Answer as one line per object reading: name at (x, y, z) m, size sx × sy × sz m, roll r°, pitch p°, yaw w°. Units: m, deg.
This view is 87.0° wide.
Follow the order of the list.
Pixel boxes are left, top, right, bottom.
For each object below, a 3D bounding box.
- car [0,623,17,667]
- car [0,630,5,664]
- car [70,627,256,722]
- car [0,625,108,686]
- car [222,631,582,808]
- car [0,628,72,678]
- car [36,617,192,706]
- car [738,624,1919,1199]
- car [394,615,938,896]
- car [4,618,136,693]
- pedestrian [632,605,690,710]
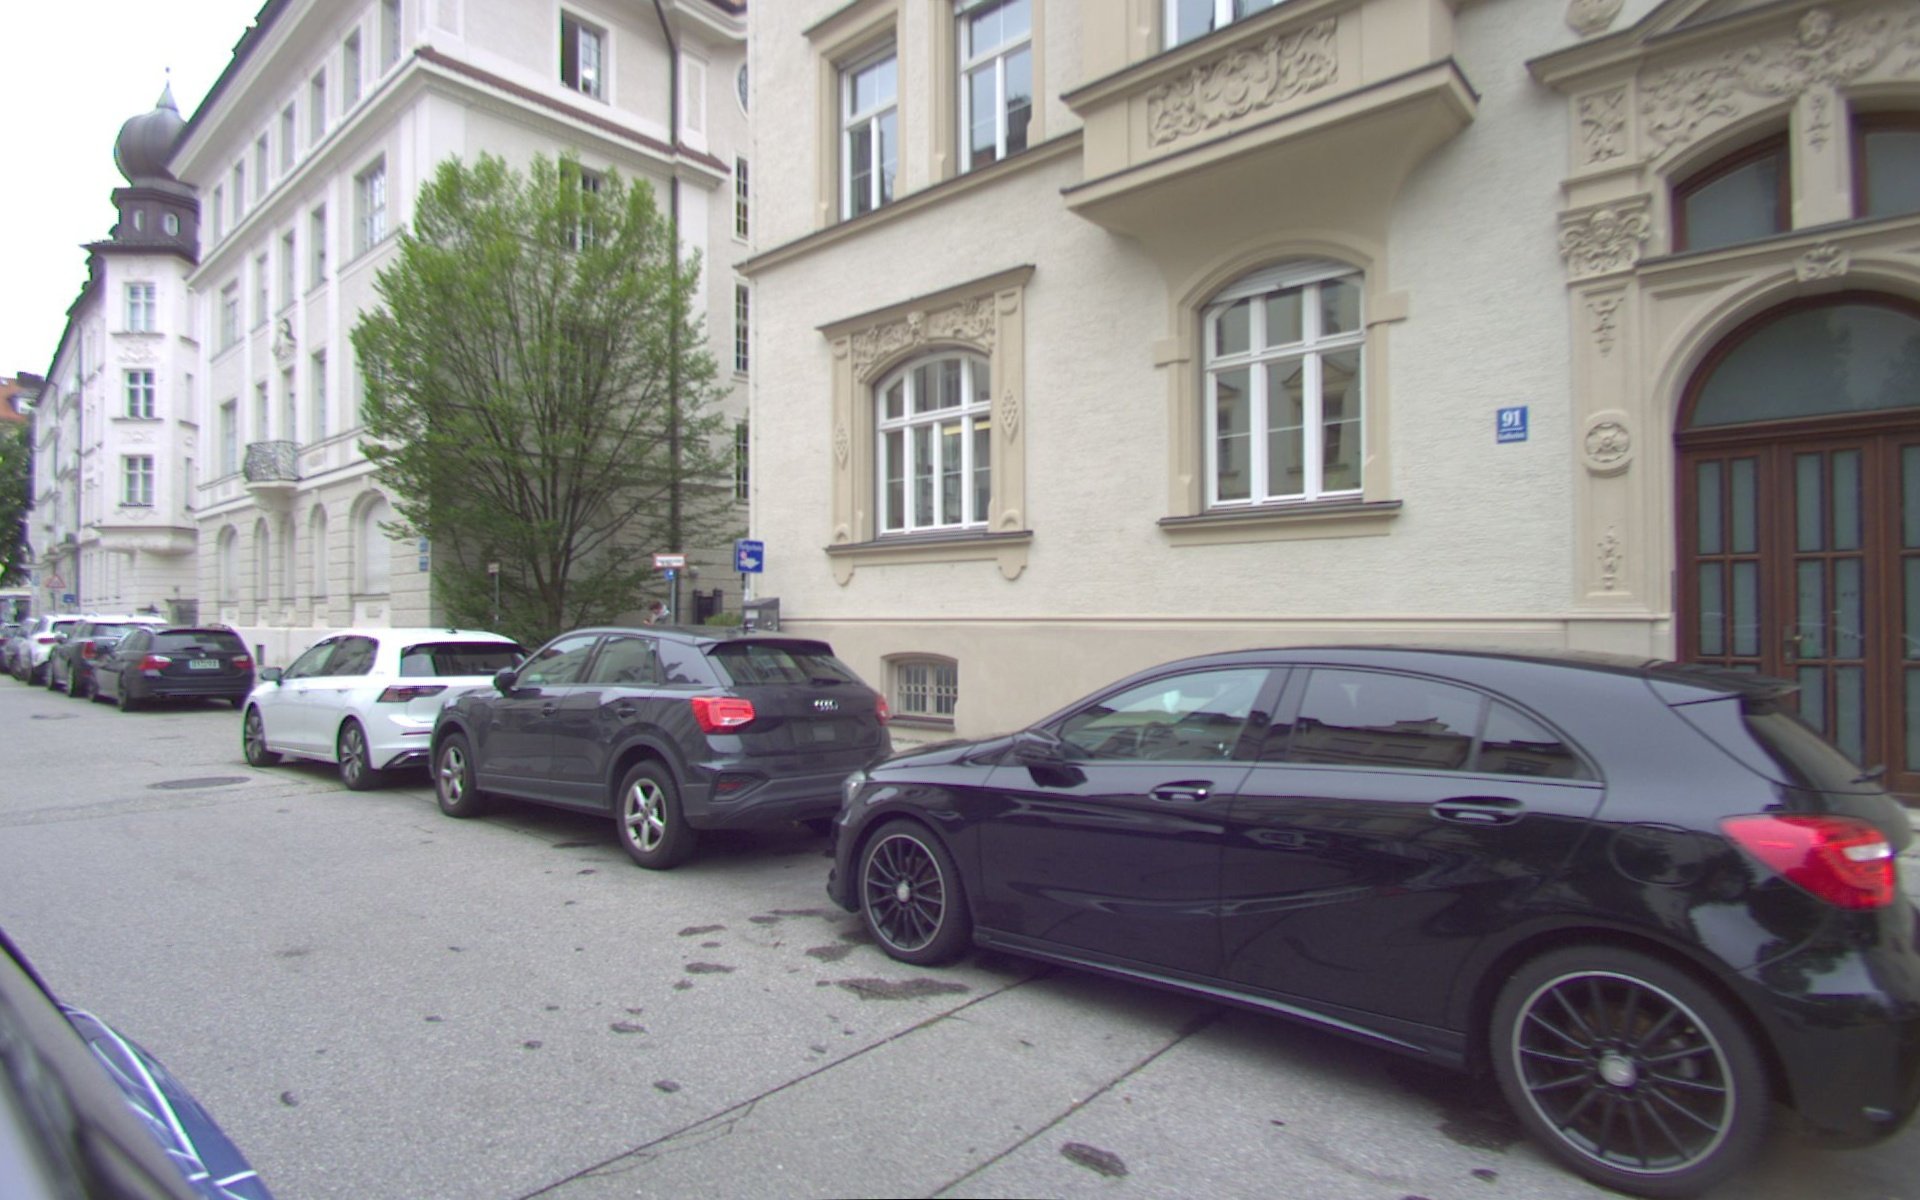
car at (-37.216, 1.675, 38.310) m, size 4.118 × 1.631 × 1.709 m, roll -1°, pitch -3°, yaw 40°
car at (-41.639, 1.938, 42.559) m, size 4.244 × 1.405 × 1.816 m, roll -2°, pitch -4°, yaw 43°
car at (-13.886, 1.212, 17.537) m, size 4.365 × 1.423 × 1.768 m, roll -2°, pitch -2°, yaw 41°
car at (-25.188, 1.491, 27.872) m, size 4.252 × 1.553 × 1.765 m, roll -1°, pitch -4°, yaw 38°
car at (-5.838, 1.067, 10.380) m, size 4.241 × 1.445 × 1.817 m, roll -2°, pitch -3°, yaw 40°
car at (-28.720, 1.589, 30.961) m, size 4.277 × 1.426 × 1.773 m, roll -1°, pitch -4°, yaw 42°
car at (-17.386, 1.188, 20.728) m, size 4.242 × 1.631 × 1.817 m, roll -2°, pitch -2°, yaw 41°
car at (1.220, 0.861, 4.233) m, size 4.550 × 1.445 × 1.814 m, roll -2°, pitch -3°, yaw 40°
car at (-2.399, 0.952, 7.624) m, size 4.381 × 1.530 × 1.752 m, roll -2°, pitch -5°, yaw 40°
car at (-21.463, 1.280, 24.351) m, size 4.570 × 1.631 × 1.894 m, roll -2°, pitch -2°, yaw 42°
pedestrian at (-4.793, 0.900, 16.220) m, size 0.630 × 1.638 × 0.666 m, roll -1°, pitch -2°, yaw 39°
